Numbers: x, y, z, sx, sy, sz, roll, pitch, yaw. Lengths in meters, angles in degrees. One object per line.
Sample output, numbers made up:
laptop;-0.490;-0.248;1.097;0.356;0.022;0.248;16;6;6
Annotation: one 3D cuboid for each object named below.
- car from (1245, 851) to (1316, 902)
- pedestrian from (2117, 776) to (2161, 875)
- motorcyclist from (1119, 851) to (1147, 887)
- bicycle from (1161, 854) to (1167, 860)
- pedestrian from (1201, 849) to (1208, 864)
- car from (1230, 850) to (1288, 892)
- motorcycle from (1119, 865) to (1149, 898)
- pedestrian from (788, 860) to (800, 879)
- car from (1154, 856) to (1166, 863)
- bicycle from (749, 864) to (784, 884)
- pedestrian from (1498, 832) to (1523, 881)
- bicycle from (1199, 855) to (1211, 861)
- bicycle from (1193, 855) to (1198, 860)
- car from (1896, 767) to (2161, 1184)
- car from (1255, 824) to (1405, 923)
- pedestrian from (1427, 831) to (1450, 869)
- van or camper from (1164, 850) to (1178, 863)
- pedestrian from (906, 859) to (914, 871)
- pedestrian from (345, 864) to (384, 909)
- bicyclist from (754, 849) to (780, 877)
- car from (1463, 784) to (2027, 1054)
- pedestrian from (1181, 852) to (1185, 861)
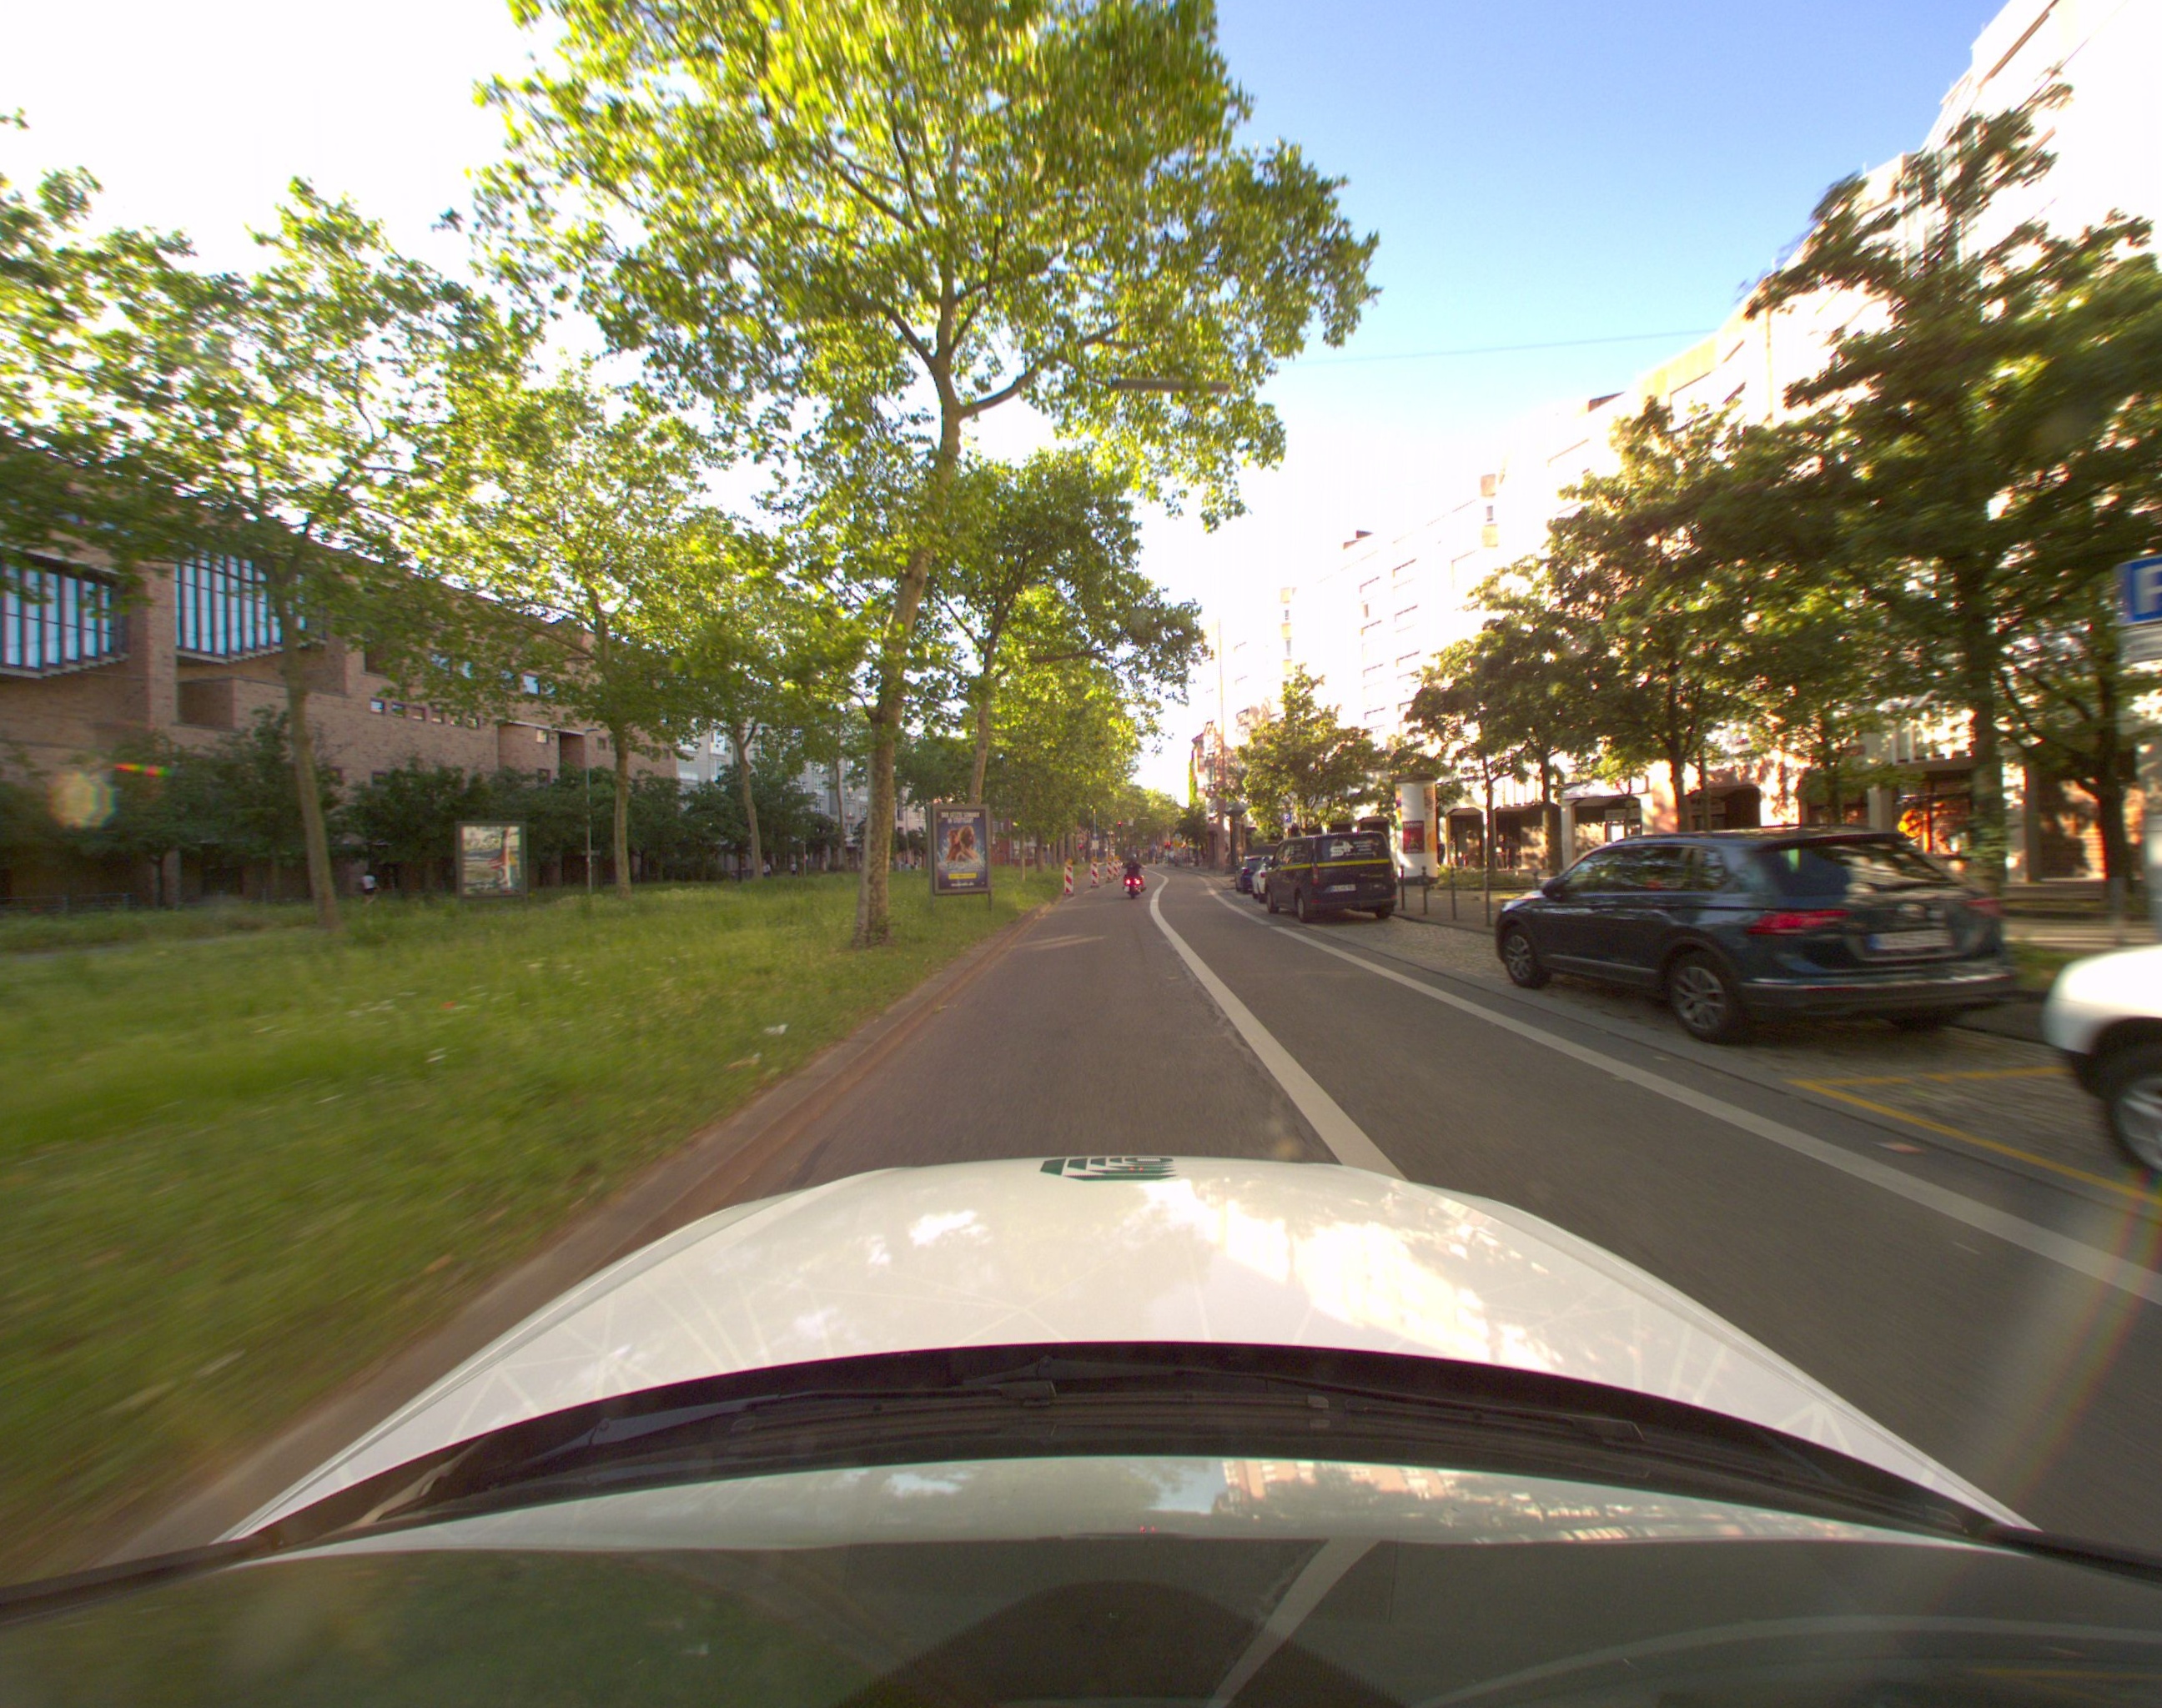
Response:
car;6.490;0.679;26.894;1.693;1.465;4.183;-3;0;6
pedestrian;24.832;-0.651;18.846;0.717;2.248;0.809;-2;0;22
motorcyclist;1.884;0.544;29.439;1.007;1.263;0.775;1;0;3
bicycle;14.602;0.559;143.210;0.736;1.053;1.748;-2;0;-6
pedestrian;14.654;0.246;96.843;0.776;1.738;0.839;-2;0;11
car;7.032;0.619;32.466;1.694;1.483;4.255;-3;0;5
motorcycle;1.894;0.960;29.349;1.013;1.097;2.009;-1;0;3
pedestrian;-26.238;1.406;74.472;0.725;1.740;0.649;-2;0;6
car;14.588;0.982;150.458;1.610;1.302;4.325;-2;0;11
bicycle;-18.069;1.125;46.832;0.952;1.126;2.438;-2;-1;3
pedestrian;18.001;0.104;34.163;0.636;1.981;0.777;-1;0;4
bicycle;20.857;0.662;137.012;1.730;1.053;0.744;-2;0;30
bicycle;20.024;0.643;142.248;0.733;0.939;1.755;-2;0;7
car;5.249;0.457;2.174;1.790;1.724;4.464;-3;0;4
car;5.764;0.403;19.643;2.030;1.943;5.199;-3;0;1
pedestrian;19.075;-0.205;43.474;0.814;1.981;0.847;-1;0;-5
van or camper;18.421;0.518;166.646;2.035;2.540;5.793;-2;0;13
pedestrian;-24.106;1.556;114.873;0.702;1.639;0.791;-1;0;13
pedestrian;-30.131;1.364;34.257;0.820;1.831;0.902;-1;0;5
bicyclist;-18.074;0.517;46.904;0.937;1.571;1.210;-2;0;3
car;5.542;0.437;7.787;1.790;1.724;4.579;-3;0;4
pedestrian;19.486;0.440;155.193;0.641;1.578;0.749;-1;-1;6
